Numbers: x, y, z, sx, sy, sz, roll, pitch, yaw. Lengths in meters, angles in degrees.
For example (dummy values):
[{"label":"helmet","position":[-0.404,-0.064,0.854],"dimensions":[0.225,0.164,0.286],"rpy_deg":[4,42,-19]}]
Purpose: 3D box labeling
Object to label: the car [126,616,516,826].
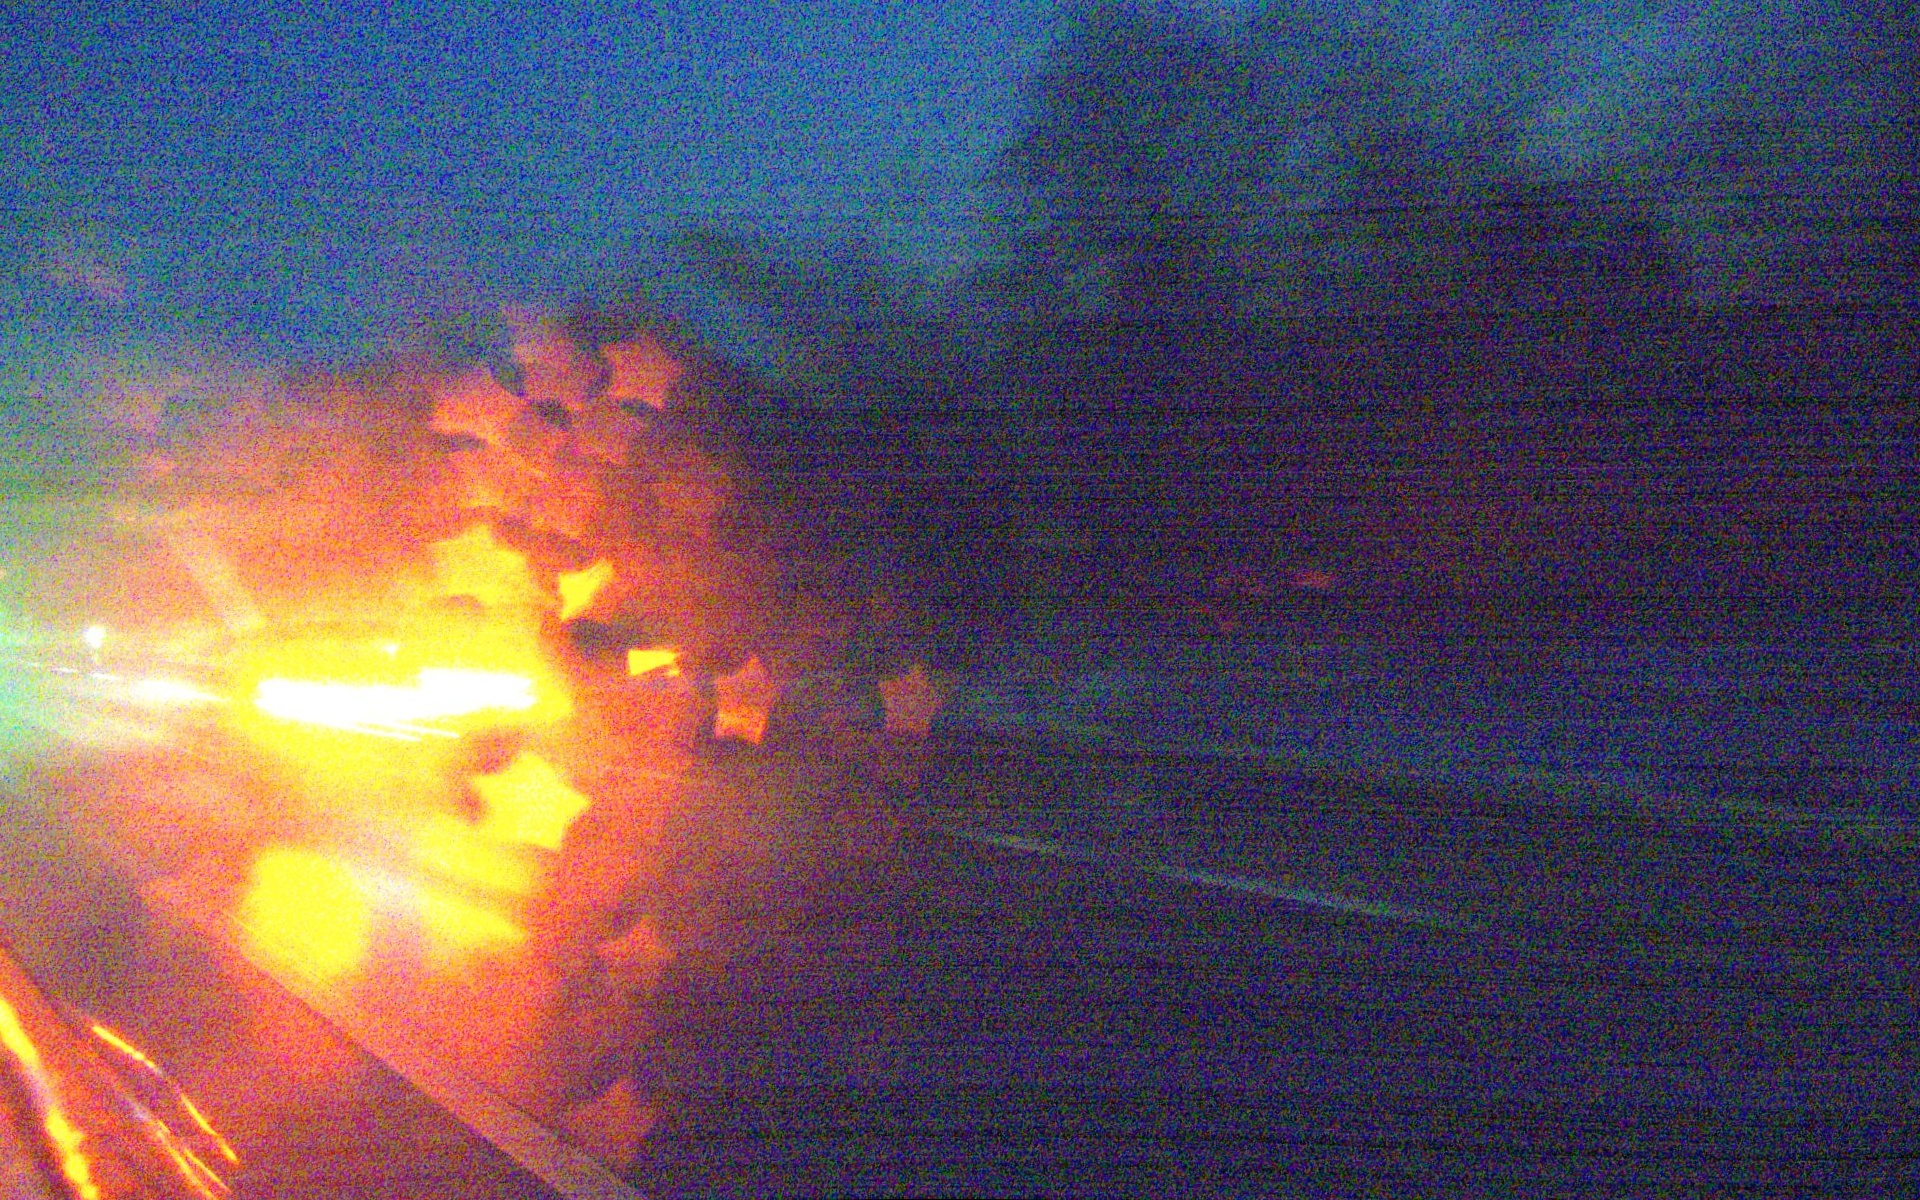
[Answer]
[{"label":"car","position":[-5.620,0.879,8.769],"dimensions":[3.680,1.437,1.730],"rpy_deg":[-2,-2,38]}]
